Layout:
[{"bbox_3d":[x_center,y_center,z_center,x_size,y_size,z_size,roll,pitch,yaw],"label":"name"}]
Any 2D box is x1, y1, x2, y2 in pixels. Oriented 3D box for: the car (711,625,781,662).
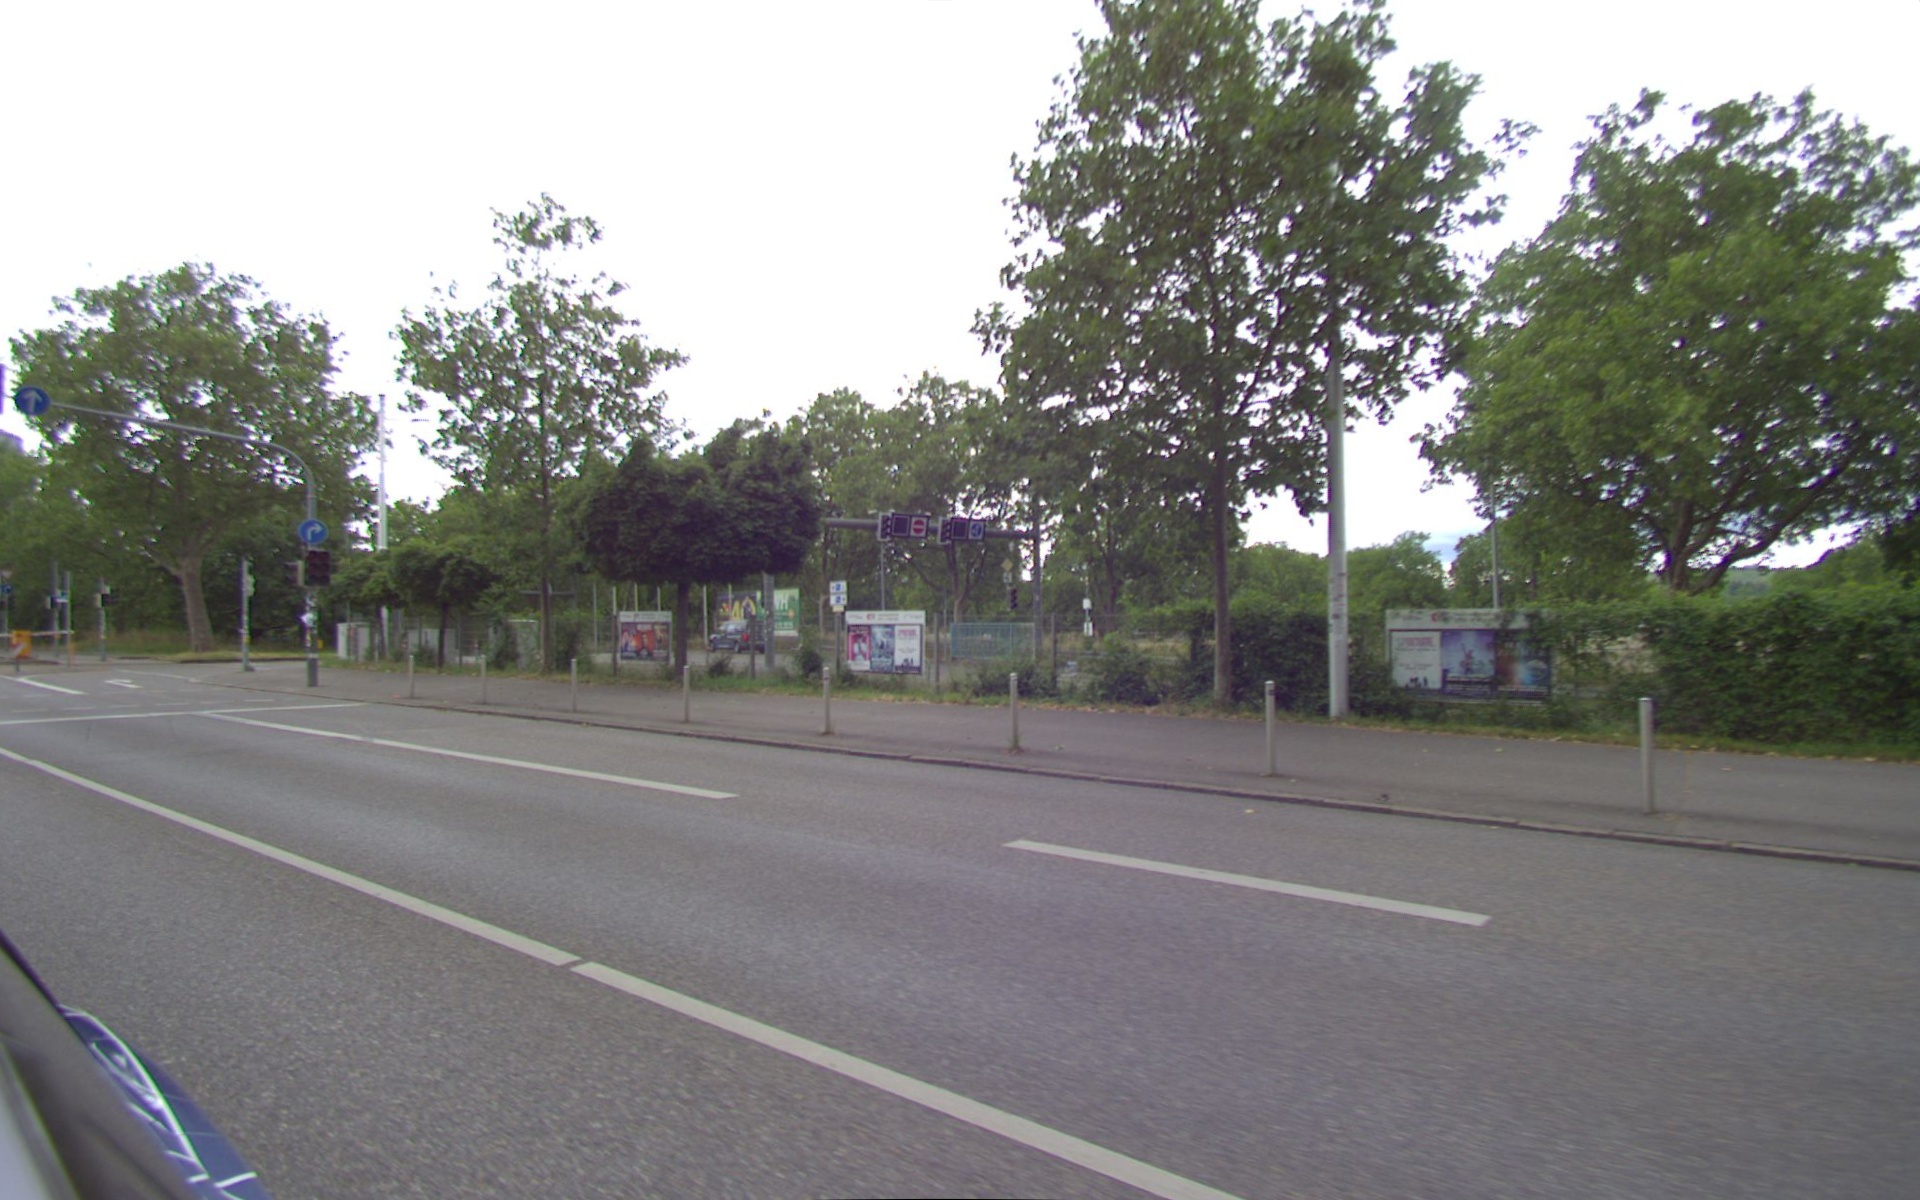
[{"bbox_3d":[-11.655,2.323,54.948,1.857,1.849,4.602,-1,-1,-38],"label":"car"}]
